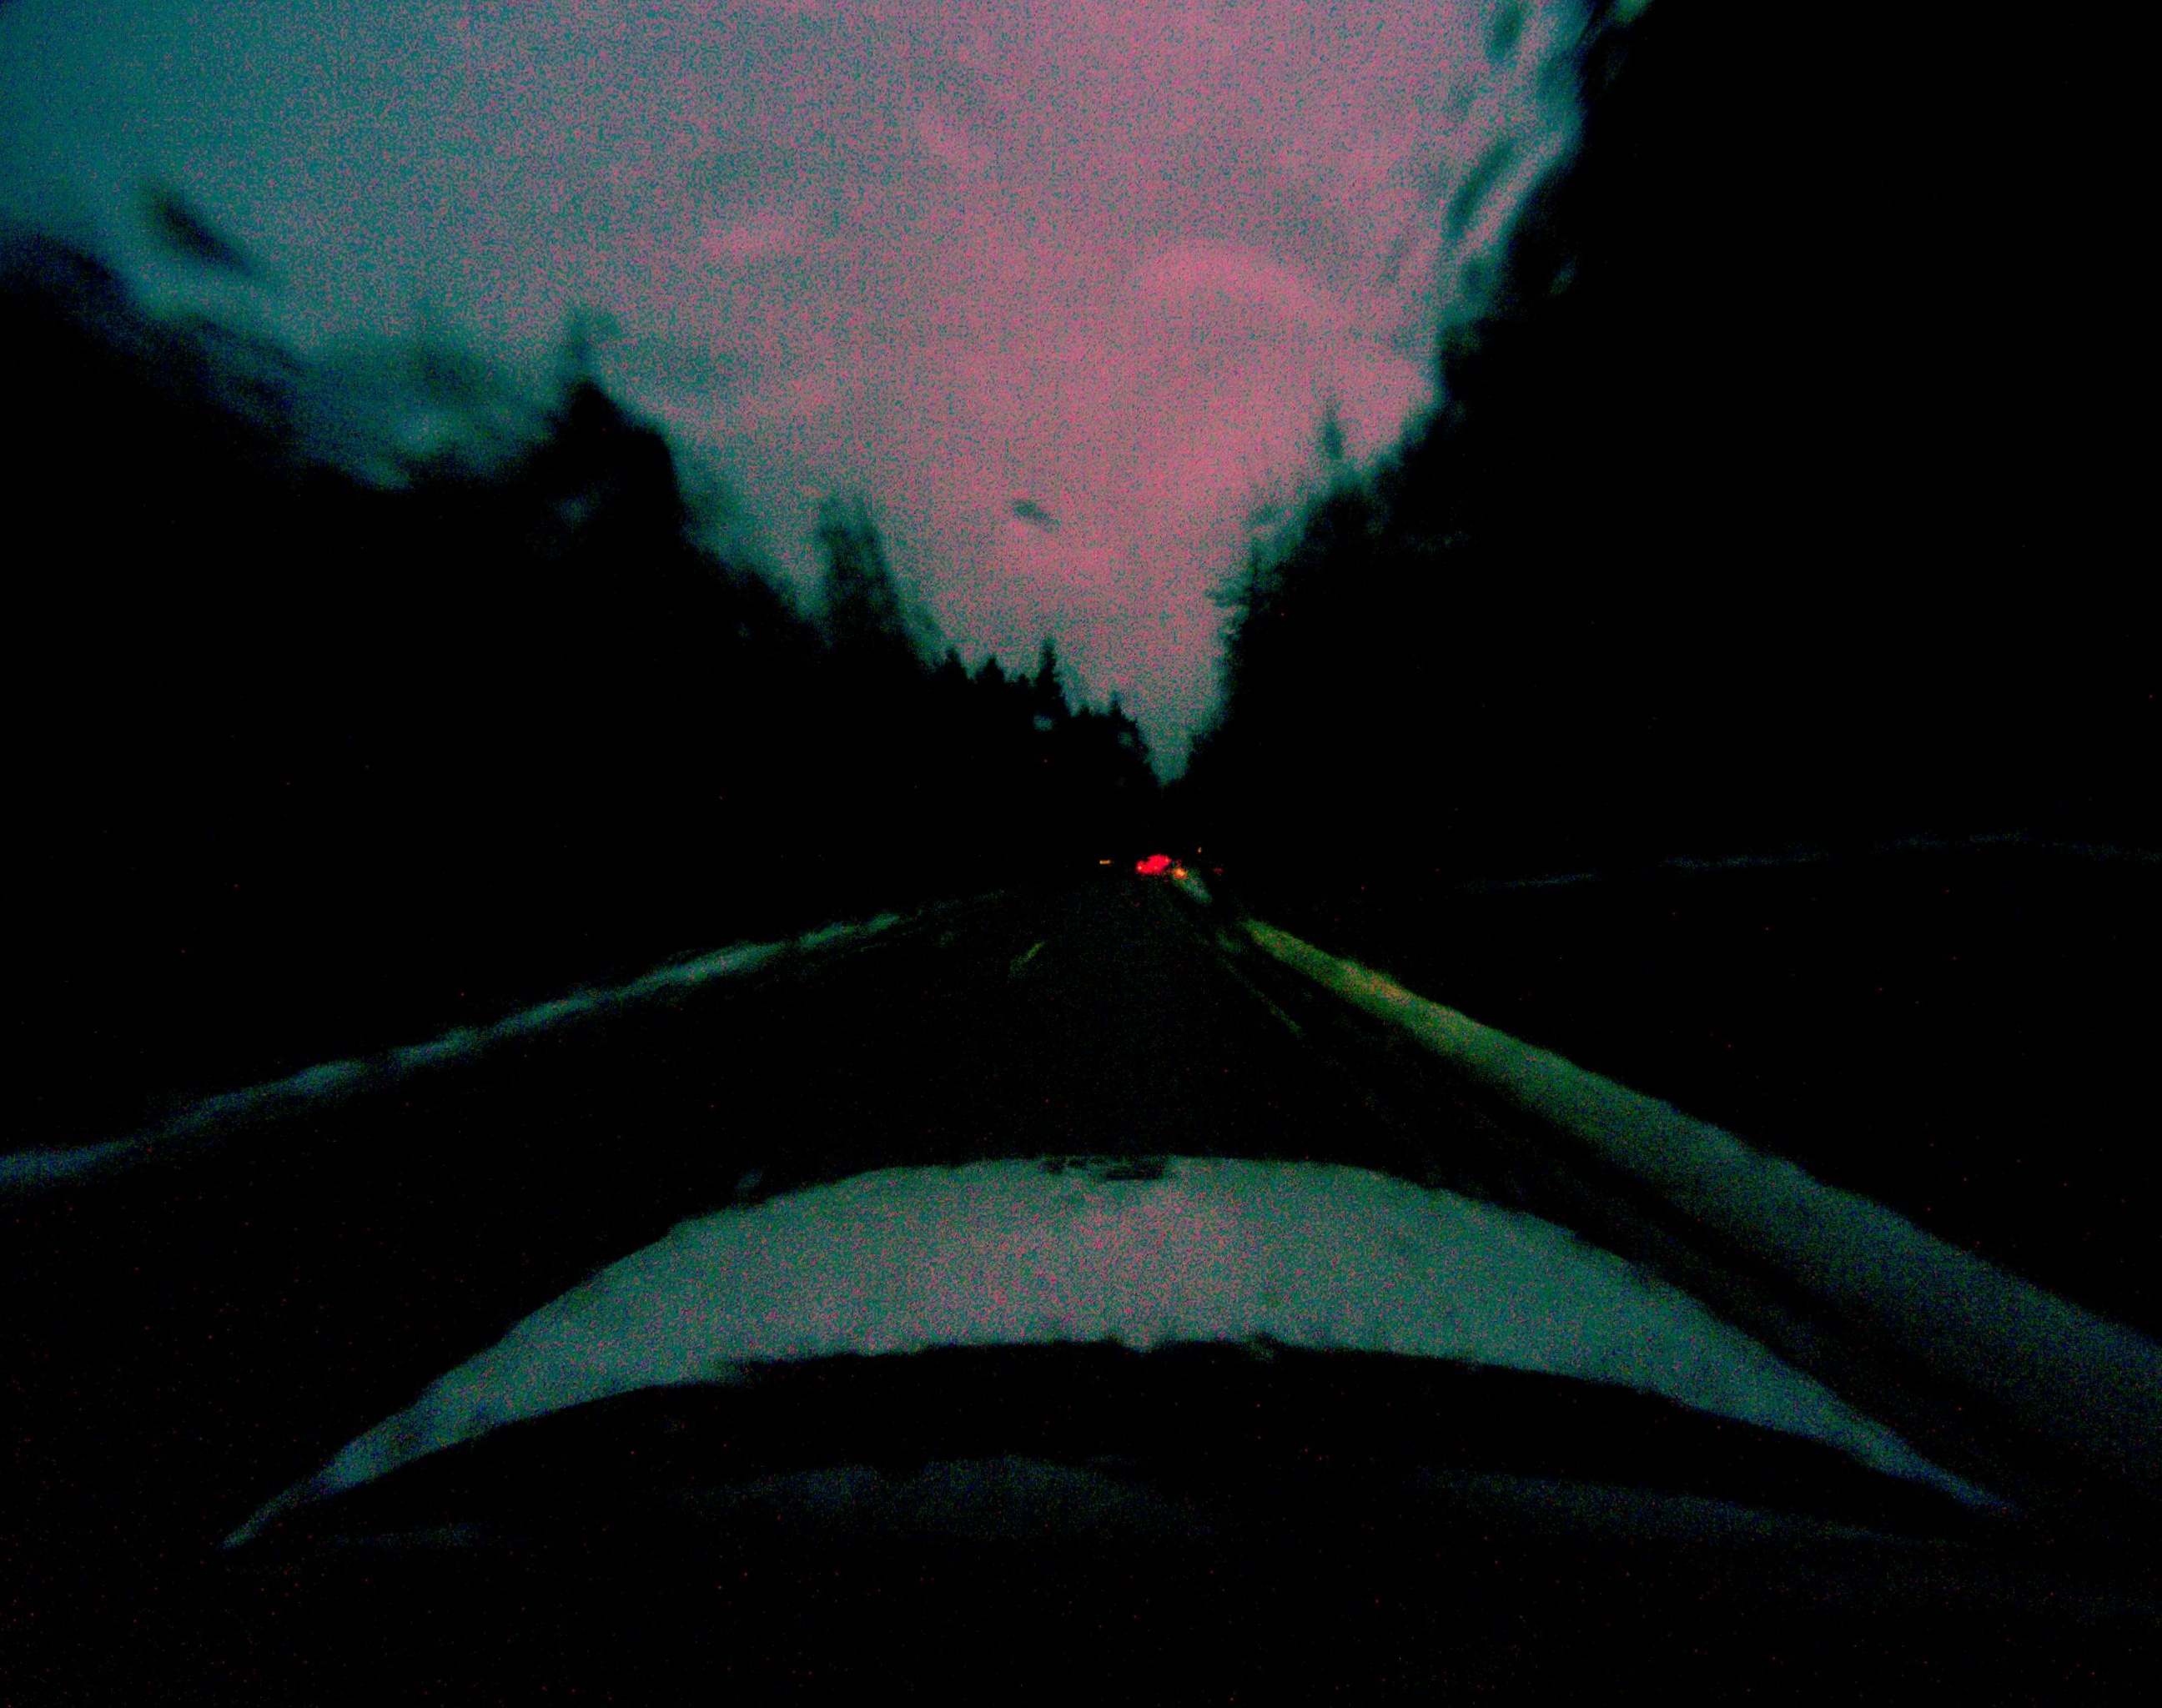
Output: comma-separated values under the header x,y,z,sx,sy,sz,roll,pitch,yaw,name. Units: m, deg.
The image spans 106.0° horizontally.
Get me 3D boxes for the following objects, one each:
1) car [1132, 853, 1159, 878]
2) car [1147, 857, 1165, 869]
x,y,z,sx,sy,sz,roll,pitch,yaw,name
5.288,0.946,66.972,1.985,1.872,4.003,-4,0,3,car
9.327,1.163,101.750,1.985,1.310,4.003,-5,0,3,car
